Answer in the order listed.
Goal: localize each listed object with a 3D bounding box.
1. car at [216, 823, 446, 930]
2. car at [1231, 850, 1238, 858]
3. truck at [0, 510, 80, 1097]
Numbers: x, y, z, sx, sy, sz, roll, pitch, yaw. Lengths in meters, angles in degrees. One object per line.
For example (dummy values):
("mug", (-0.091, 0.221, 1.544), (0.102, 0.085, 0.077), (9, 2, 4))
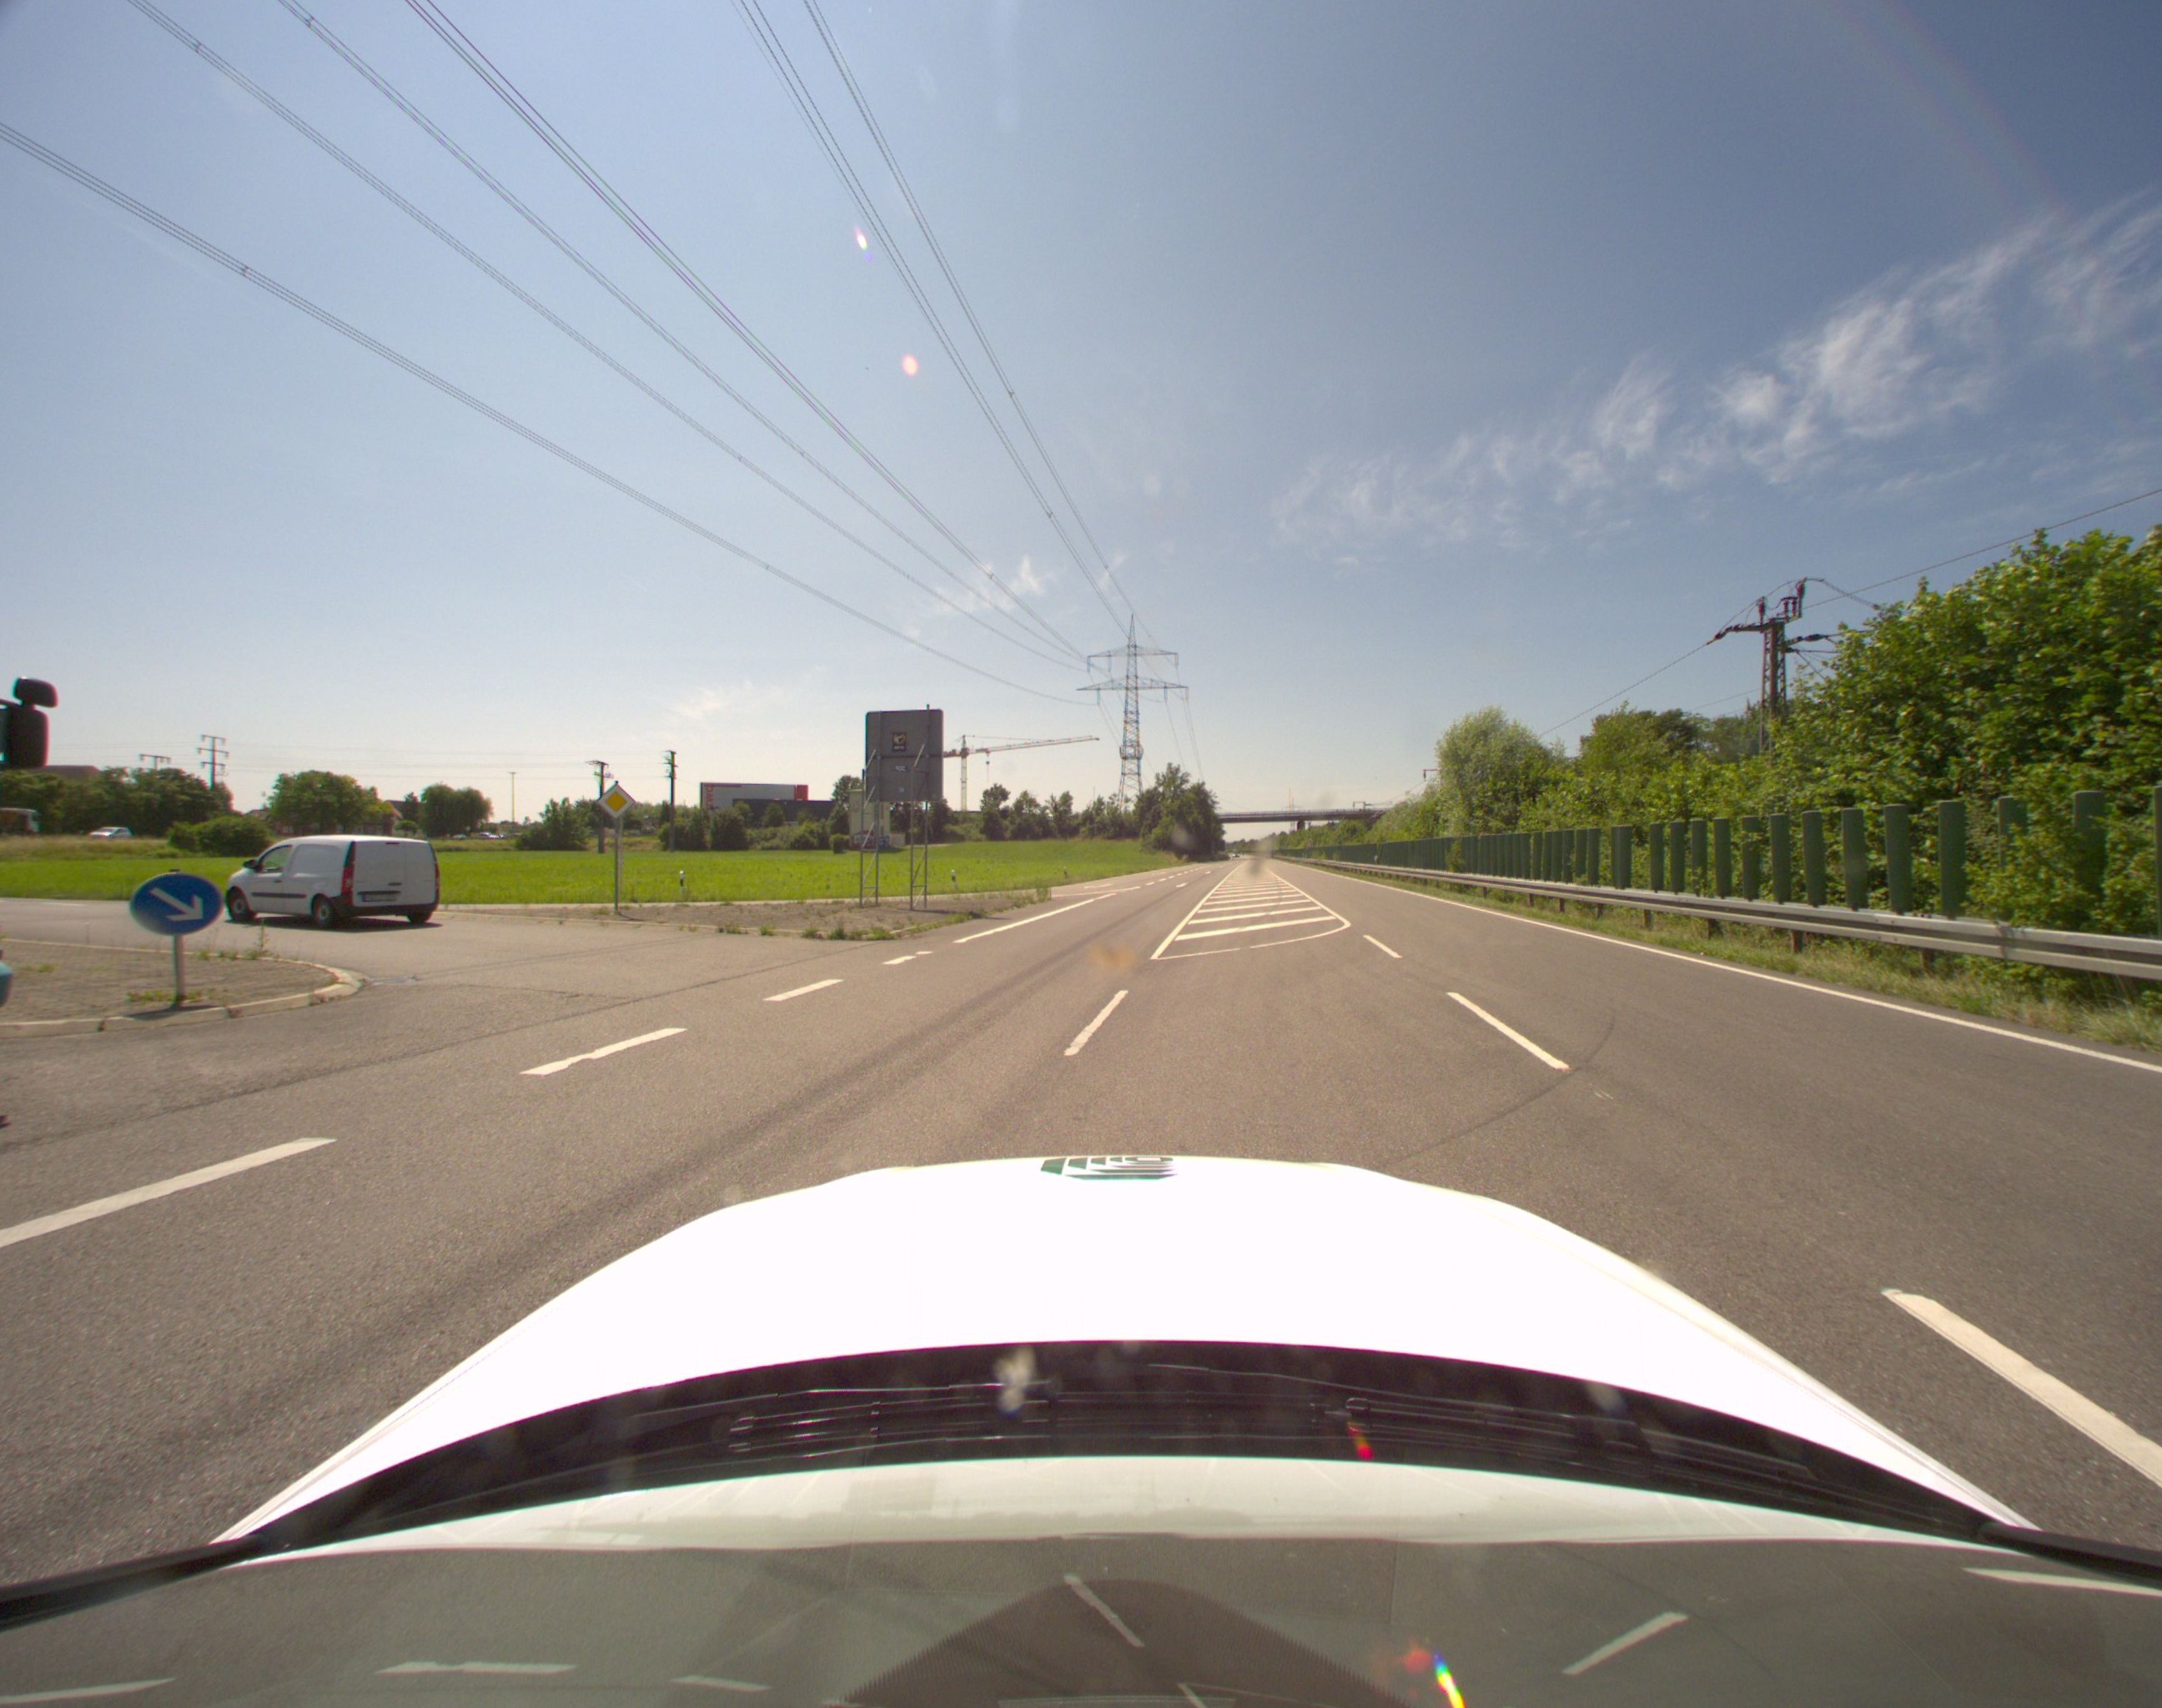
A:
("car", (-15.237, 0.435, 16.571), (3.953, 1.971, 1.842), (0, -1, 21))
("car", (42.990, -0.010, 227.788), (1.981, 2.013, 4.012), (0, 0, 11))
("truck", (-10.917, -0.398, 5.180), (7.849, 3.734, 2.507), (1, 0, 13))
